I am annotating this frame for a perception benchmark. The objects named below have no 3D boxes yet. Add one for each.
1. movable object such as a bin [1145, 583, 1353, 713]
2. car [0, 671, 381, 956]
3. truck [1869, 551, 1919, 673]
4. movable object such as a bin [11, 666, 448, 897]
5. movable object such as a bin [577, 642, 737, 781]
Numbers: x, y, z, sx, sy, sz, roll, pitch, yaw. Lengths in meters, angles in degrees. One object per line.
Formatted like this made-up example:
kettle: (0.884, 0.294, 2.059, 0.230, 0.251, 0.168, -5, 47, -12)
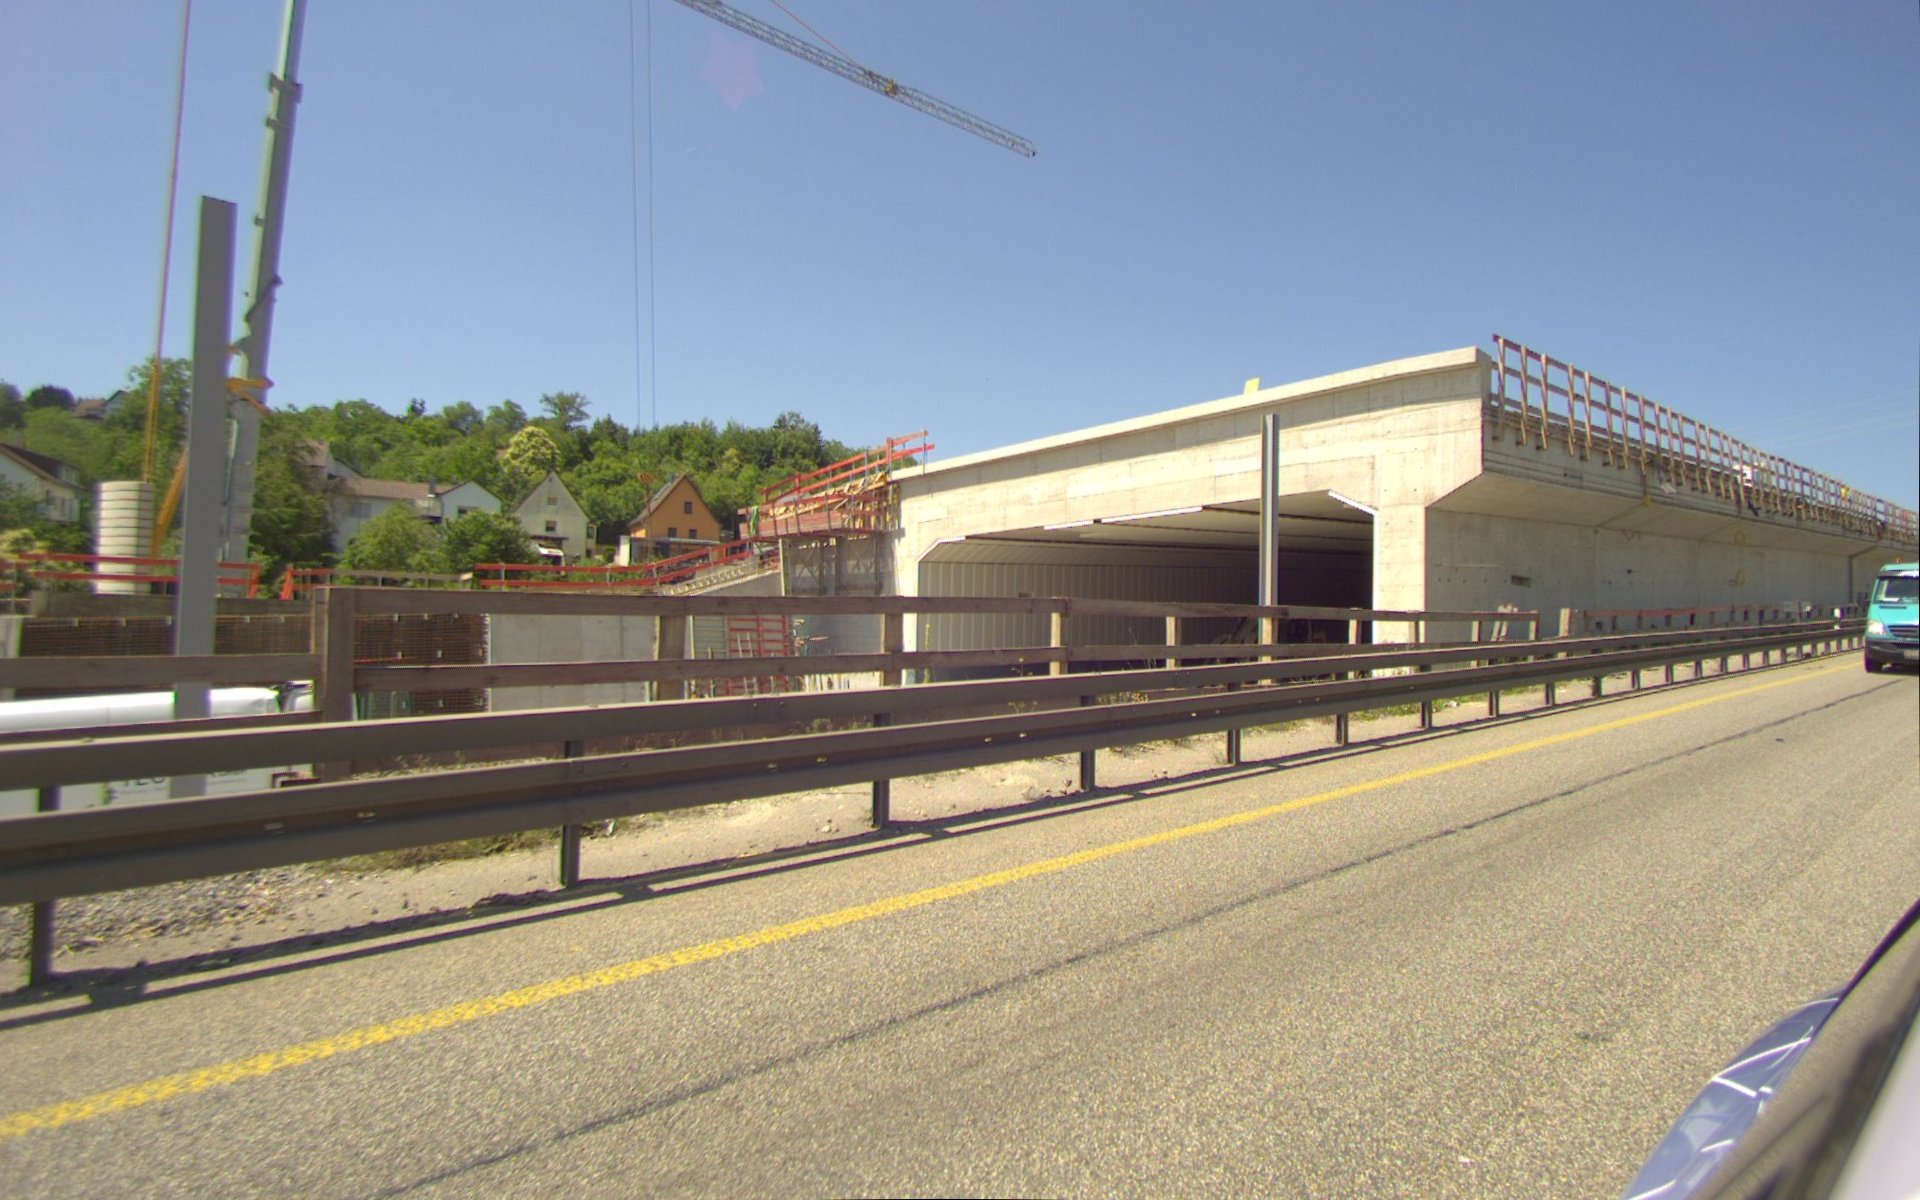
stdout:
movable object such as a bin: (10.809, 1.518, 37.174, 8.998, 4.113, 2.958, -2, 1, -41)
car: (-11.420, 2.641, 12.786, 6.894, 2.891, 2.151, -2, 1, -37)
truck: (21.728, 0.141, 21.866, 7.303, 2.386, 2.138, -2, 1, -40)
movable object such as a bin: (-11.498, 2.657, 16.407, 5.398, 2.710, 2.151, -2, 1, -36)
movable object such as a bin: (-7.911, 2.971, 26.240, 3.425, 2.941, 7.159, -1, -8, -18)
